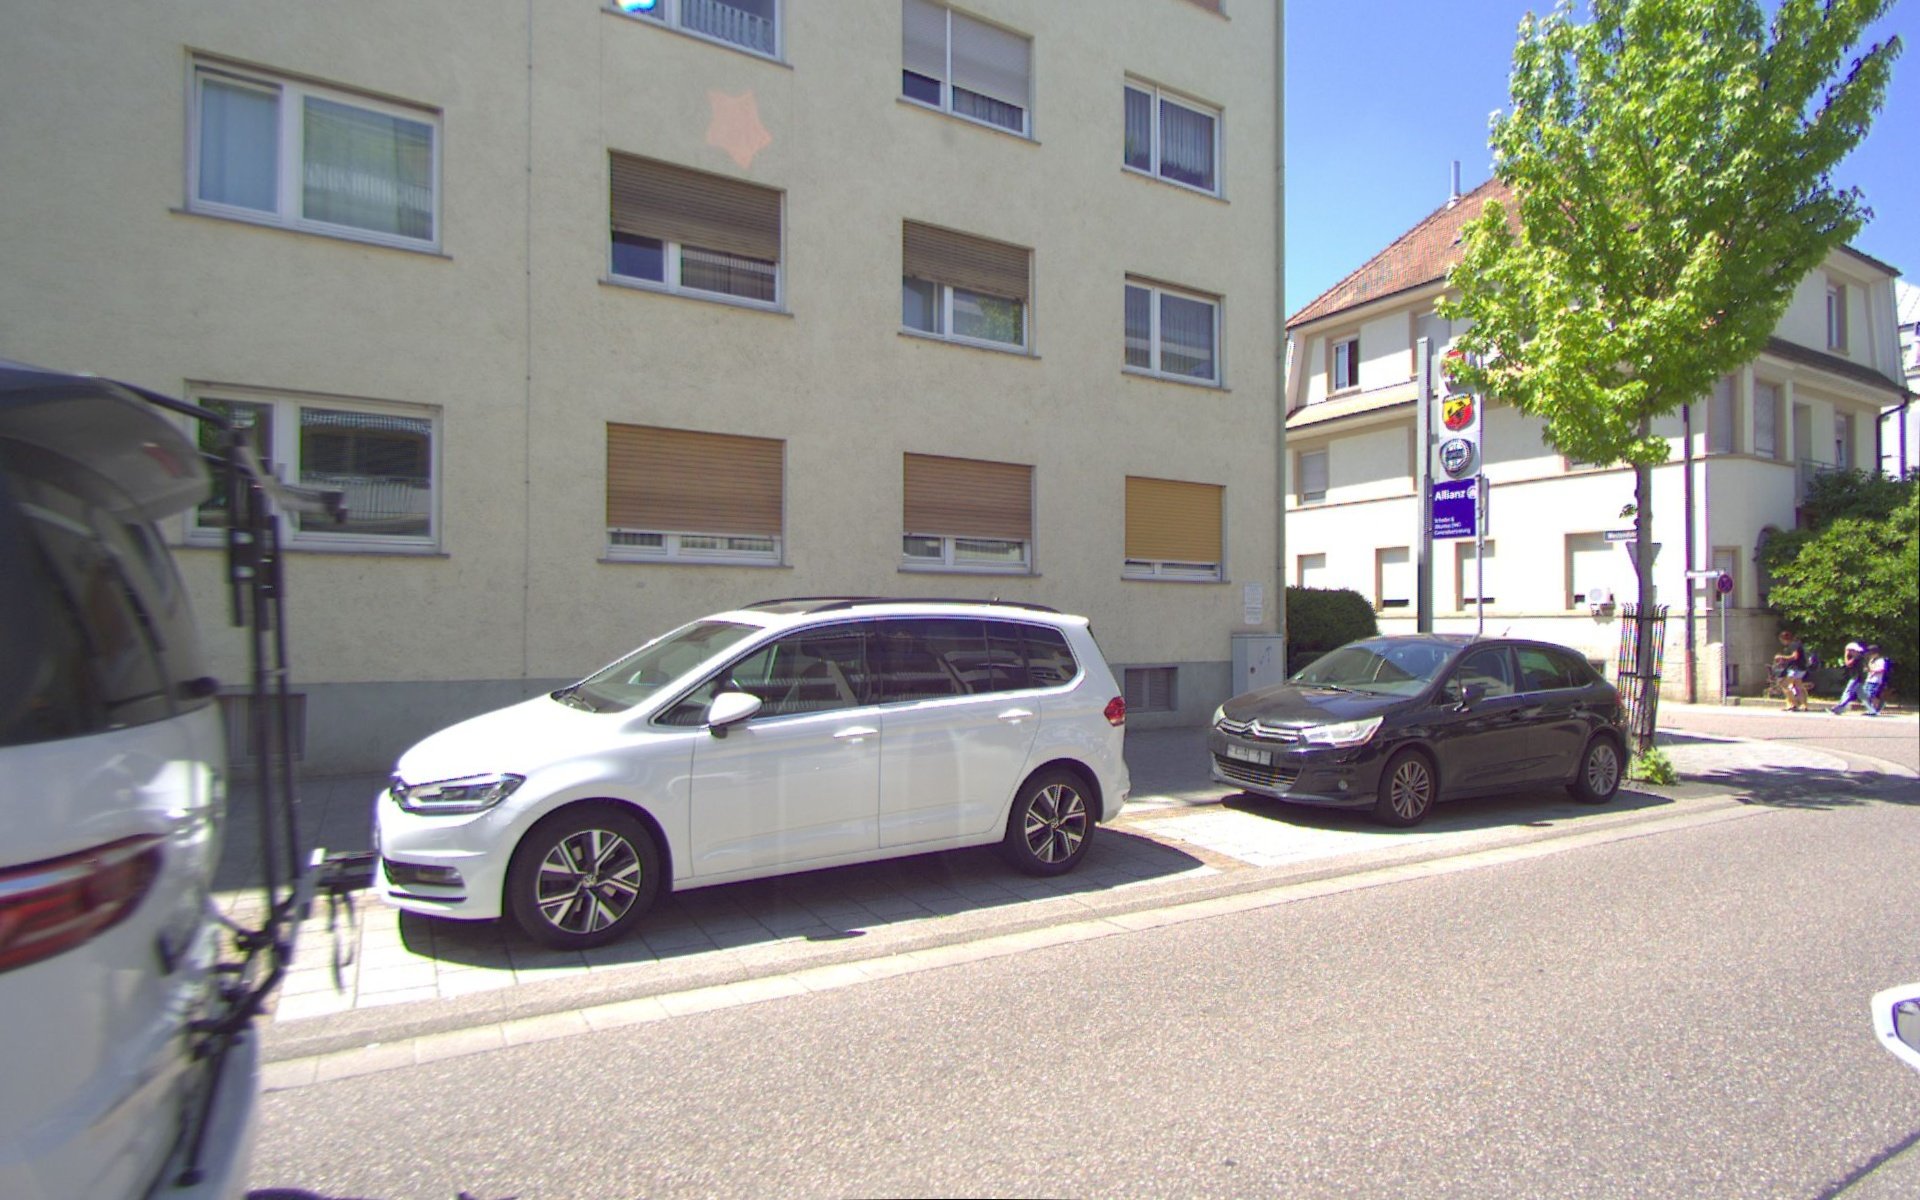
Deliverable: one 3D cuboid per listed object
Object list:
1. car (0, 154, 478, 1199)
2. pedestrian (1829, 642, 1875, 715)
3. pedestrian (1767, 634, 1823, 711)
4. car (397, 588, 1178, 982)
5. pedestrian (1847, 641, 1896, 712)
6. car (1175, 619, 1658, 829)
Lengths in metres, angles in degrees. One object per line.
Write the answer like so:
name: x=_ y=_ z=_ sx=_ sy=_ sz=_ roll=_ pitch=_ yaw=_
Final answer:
car: x=-3.234 y=0.446 z=0.937 sx=4.850 sy=1.947 sz=1.897 roll=2 pitch=-3 yaw=-32
pedestrian: x=17.728 y=1.546 z=19.983 sx=0.589 sy=1.389 sz=0.691 roll=-3 pitch=-2 yaw=39
pedestrian: x=17.311 y=1.493 z=20.834 sx=0.586 sy=1.550 sz=0.695 roll=-3 pitch=-2 yaw=16
car: x=-0.904 y=0.802 z=6.120 sx=4.343 sy=1.641 sz=1.814 roll=1 pitch=0 yaw=-32
pedestrian: x=18.457 y=1.538 z=20.352 sx=0.588 sy=1.389 sz=0.692 roll=-3 pitch=-2 yaw=36
car: x=4.185 y=0.963 z=9.076 sx=4.267 sy=1.493 sz=1.747 roll=1 pitch=0 yaw=-28
